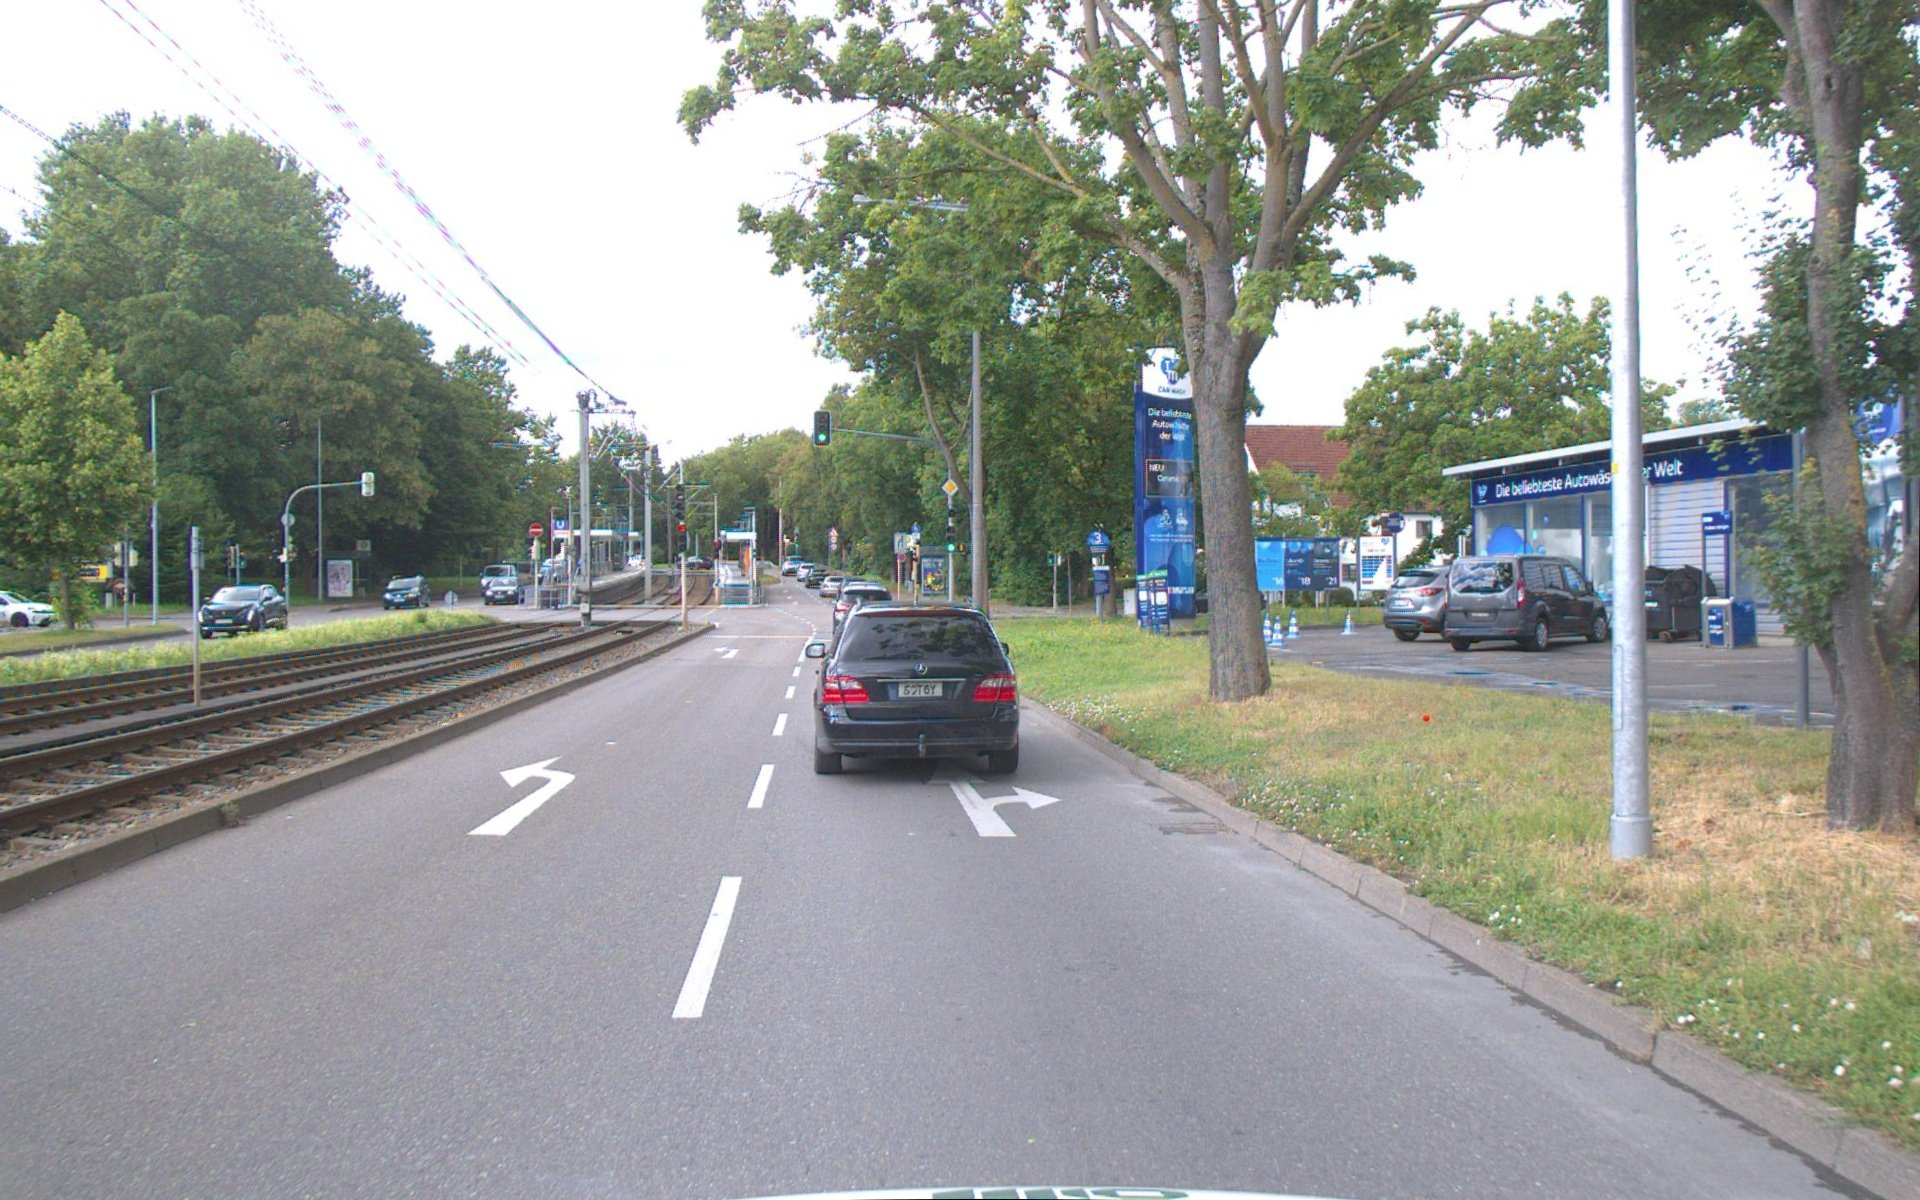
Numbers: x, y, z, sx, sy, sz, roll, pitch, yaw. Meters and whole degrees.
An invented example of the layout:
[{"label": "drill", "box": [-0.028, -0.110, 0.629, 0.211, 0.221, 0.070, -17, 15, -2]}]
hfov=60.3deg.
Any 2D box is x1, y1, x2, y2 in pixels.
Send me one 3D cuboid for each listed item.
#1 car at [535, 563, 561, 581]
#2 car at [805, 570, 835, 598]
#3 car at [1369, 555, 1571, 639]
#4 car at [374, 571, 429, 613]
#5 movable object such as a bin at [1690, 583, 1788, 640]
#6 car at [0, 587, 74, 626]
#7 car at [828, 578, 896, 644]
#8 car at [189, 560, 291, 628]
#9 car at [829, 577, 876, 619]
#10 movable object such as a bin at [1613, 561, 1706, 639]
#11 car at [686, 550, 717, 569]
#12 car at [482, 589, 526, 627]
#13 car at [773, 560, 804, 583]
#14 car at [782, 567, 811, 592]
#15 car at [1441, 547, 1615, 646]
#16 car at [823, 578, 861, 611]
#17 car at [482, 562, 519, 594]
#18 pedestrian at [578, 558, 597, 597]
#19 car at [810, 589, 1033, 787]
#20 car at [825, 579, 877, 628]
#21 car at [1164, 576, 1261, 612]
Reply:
[{"label": "car", "box": [-34.996, -2.377, 140.559, 1.655, 1.471, 3.992, -2, 1, -9]}, {"label": "car", "box": [-10.441, -1.174, 123.329, 1.956, 2.001, 3.992, 2, 0, -9]}, {"label": "car", "box": [11.386, -0.093, 36.945, 4.142, 1.727, 1.827, -1, 1, -23]}, {"label": "car", "box": [-28.207, -0.415, 83.616, 1.957, 2.049, 4.098, -1, 0, -9]}, {"label": "movable object such as a bin", "box": [14.071, 0.196, 29.907, 1.137, 0.993, 1.186, -1, 0, -9]}, {"label": "car", "box": [-36.610, 0.261, 63.844, 3.805, 1.432, 1.844, -1, 1, -7]}, {"label": "car", "box": [-2.646, 0.286, 45.328, 1.746, 1.677, 3.998, 2, 0, -2]}, {"label": "car", "box": [-22.948, -0.195, 52.901, 1.957, 2.049, 4.238, -1, 0, -9]}, {"label": "car", "box": [-5.345, -0.118, 81.738, 1.956, 1.951, 3.992, 2, 0, -9]}, {"label": "movable object such as a bin", "box": [13.931, 0.001, 32.992, 1.137, 1.500, 1.384, -1, 0, -9]}, {"label": "car", "box": [-27.969, -4.369, 178.780, 1.972, 2.049, 3.961, 2, 0, -30]}, {"label": "car", "box": [-23.952, 0.394, 86.956, 1.665, 1.893, 3.992, 2, 0, -9]}, {"label": "car", "box": [-16.187, -2.671, 156.035, 1.963, 2.049, 3.978, 2, 0, -19]}, {"label": "car", "box": [-13.904, -1.758, 140.693, 1.959, 2.049, 3.988, 2, 0, -12]}, {"label": "car", "box": [11.382, -0.103, 32.984, 1.720, 1.853, 4.358, -1, 1, 42]}, {"label": "car", "box": [-7.380, -0.333, 103.125, 1.956, 1.926, 3.992, 2, 0, -9]}, {"label": "car", "box": [-30.704, -1.441, 110.564, 1.958, 2.049, 4.873, -1, 1, -11]}, {"label": "pedestrian", "box": [-21.314, -1.264, 94.660, 0.951, 2.224, 0.975, 0, 1, -7]}, {"label": "car", "box": [-0.481, 0.690, 15.147, 1.747, 1.552, 3.995, 0, 0, -6]}, {"label": "car", "box": [-3.976, 0.130, 60.671, 1.746, 1.677, 3.998, 2, 0, -2]}, {"label": "car", "box": [11.295, -0.268, 74.135, 4.067, 1.552, 1.704, 0, 0, 0]}]
